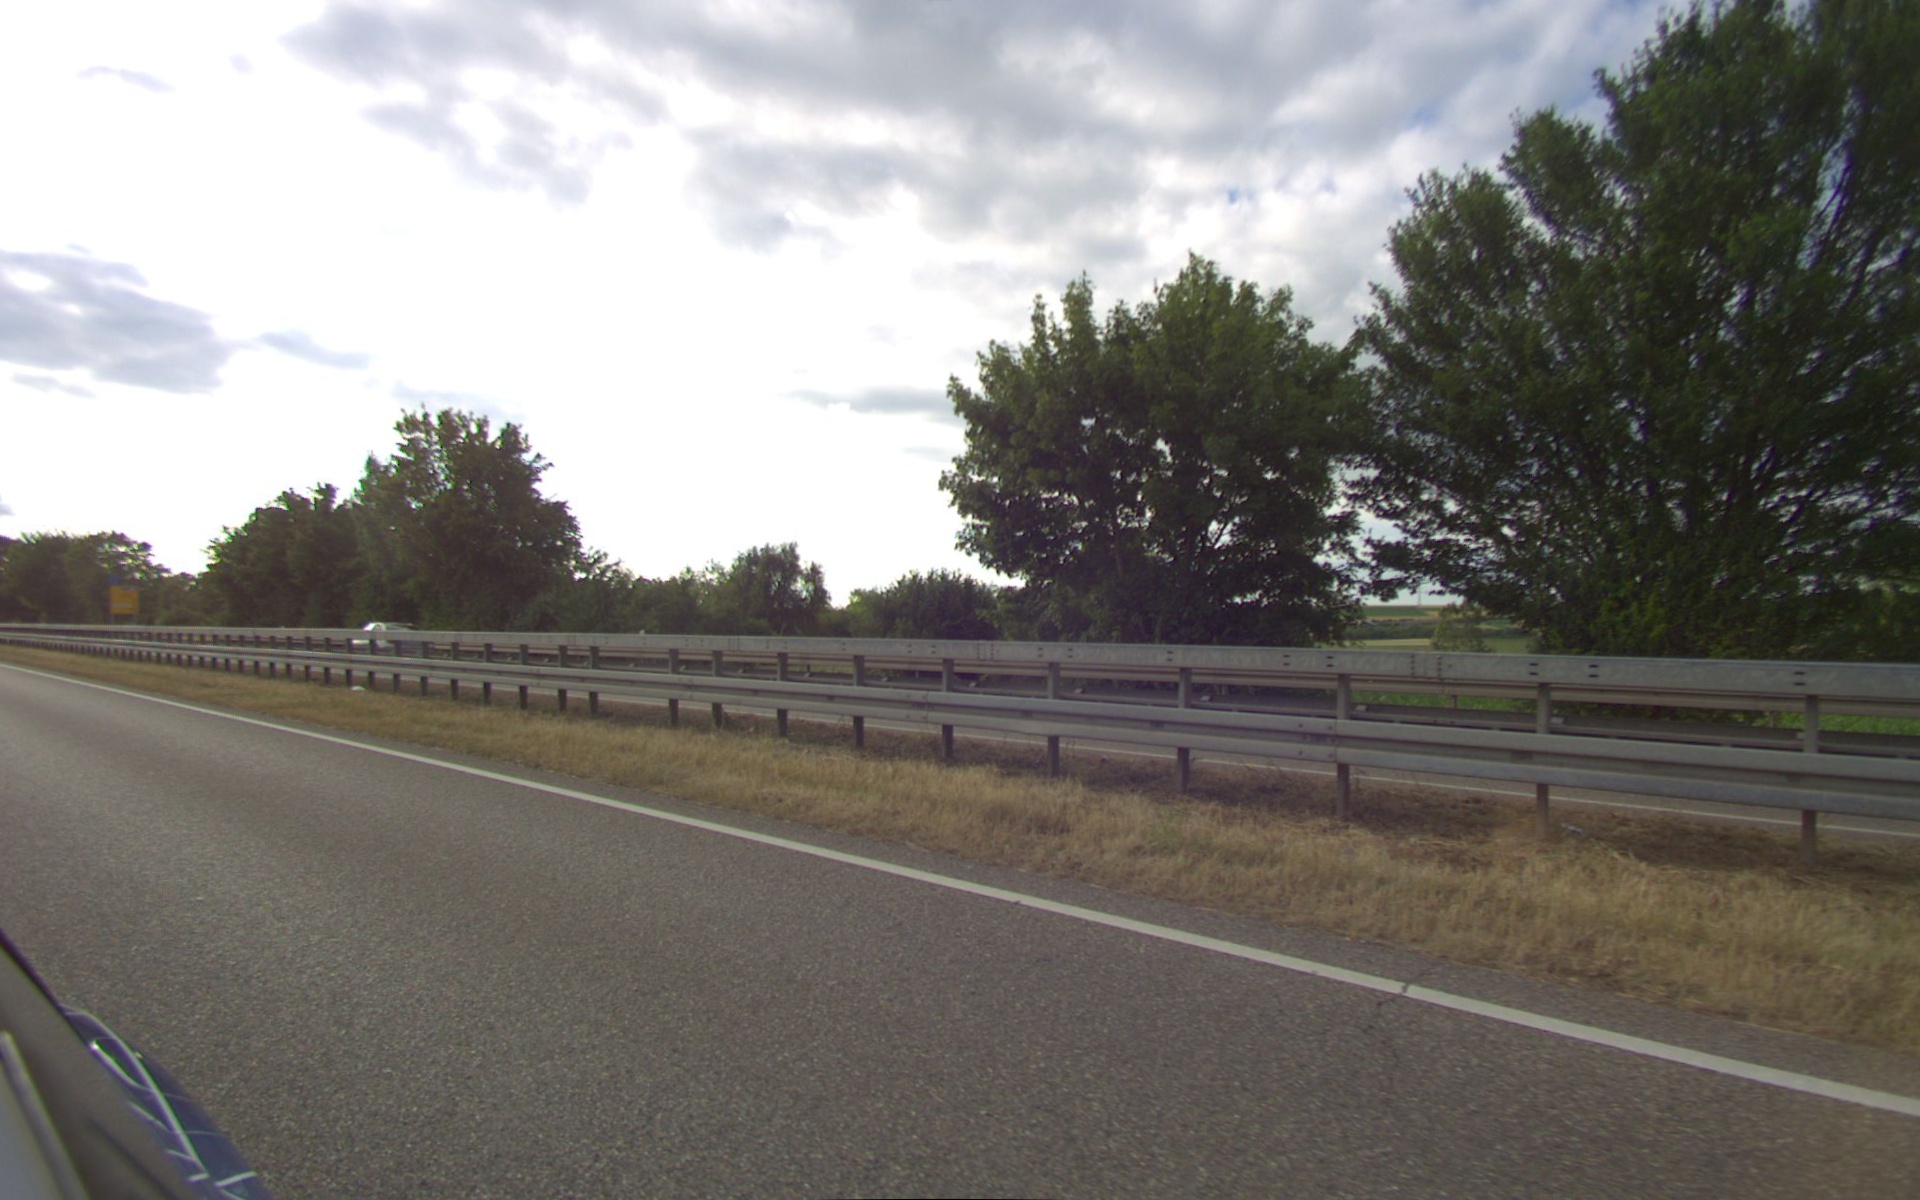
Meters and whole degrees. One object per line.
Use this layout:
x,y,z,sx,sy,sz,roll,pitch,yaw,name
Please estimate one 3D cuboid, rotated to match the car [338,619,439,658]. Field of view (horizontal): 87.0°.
-20.821,1.376,36.798,4.574,1.362,1.762,-1,-2,41,car
